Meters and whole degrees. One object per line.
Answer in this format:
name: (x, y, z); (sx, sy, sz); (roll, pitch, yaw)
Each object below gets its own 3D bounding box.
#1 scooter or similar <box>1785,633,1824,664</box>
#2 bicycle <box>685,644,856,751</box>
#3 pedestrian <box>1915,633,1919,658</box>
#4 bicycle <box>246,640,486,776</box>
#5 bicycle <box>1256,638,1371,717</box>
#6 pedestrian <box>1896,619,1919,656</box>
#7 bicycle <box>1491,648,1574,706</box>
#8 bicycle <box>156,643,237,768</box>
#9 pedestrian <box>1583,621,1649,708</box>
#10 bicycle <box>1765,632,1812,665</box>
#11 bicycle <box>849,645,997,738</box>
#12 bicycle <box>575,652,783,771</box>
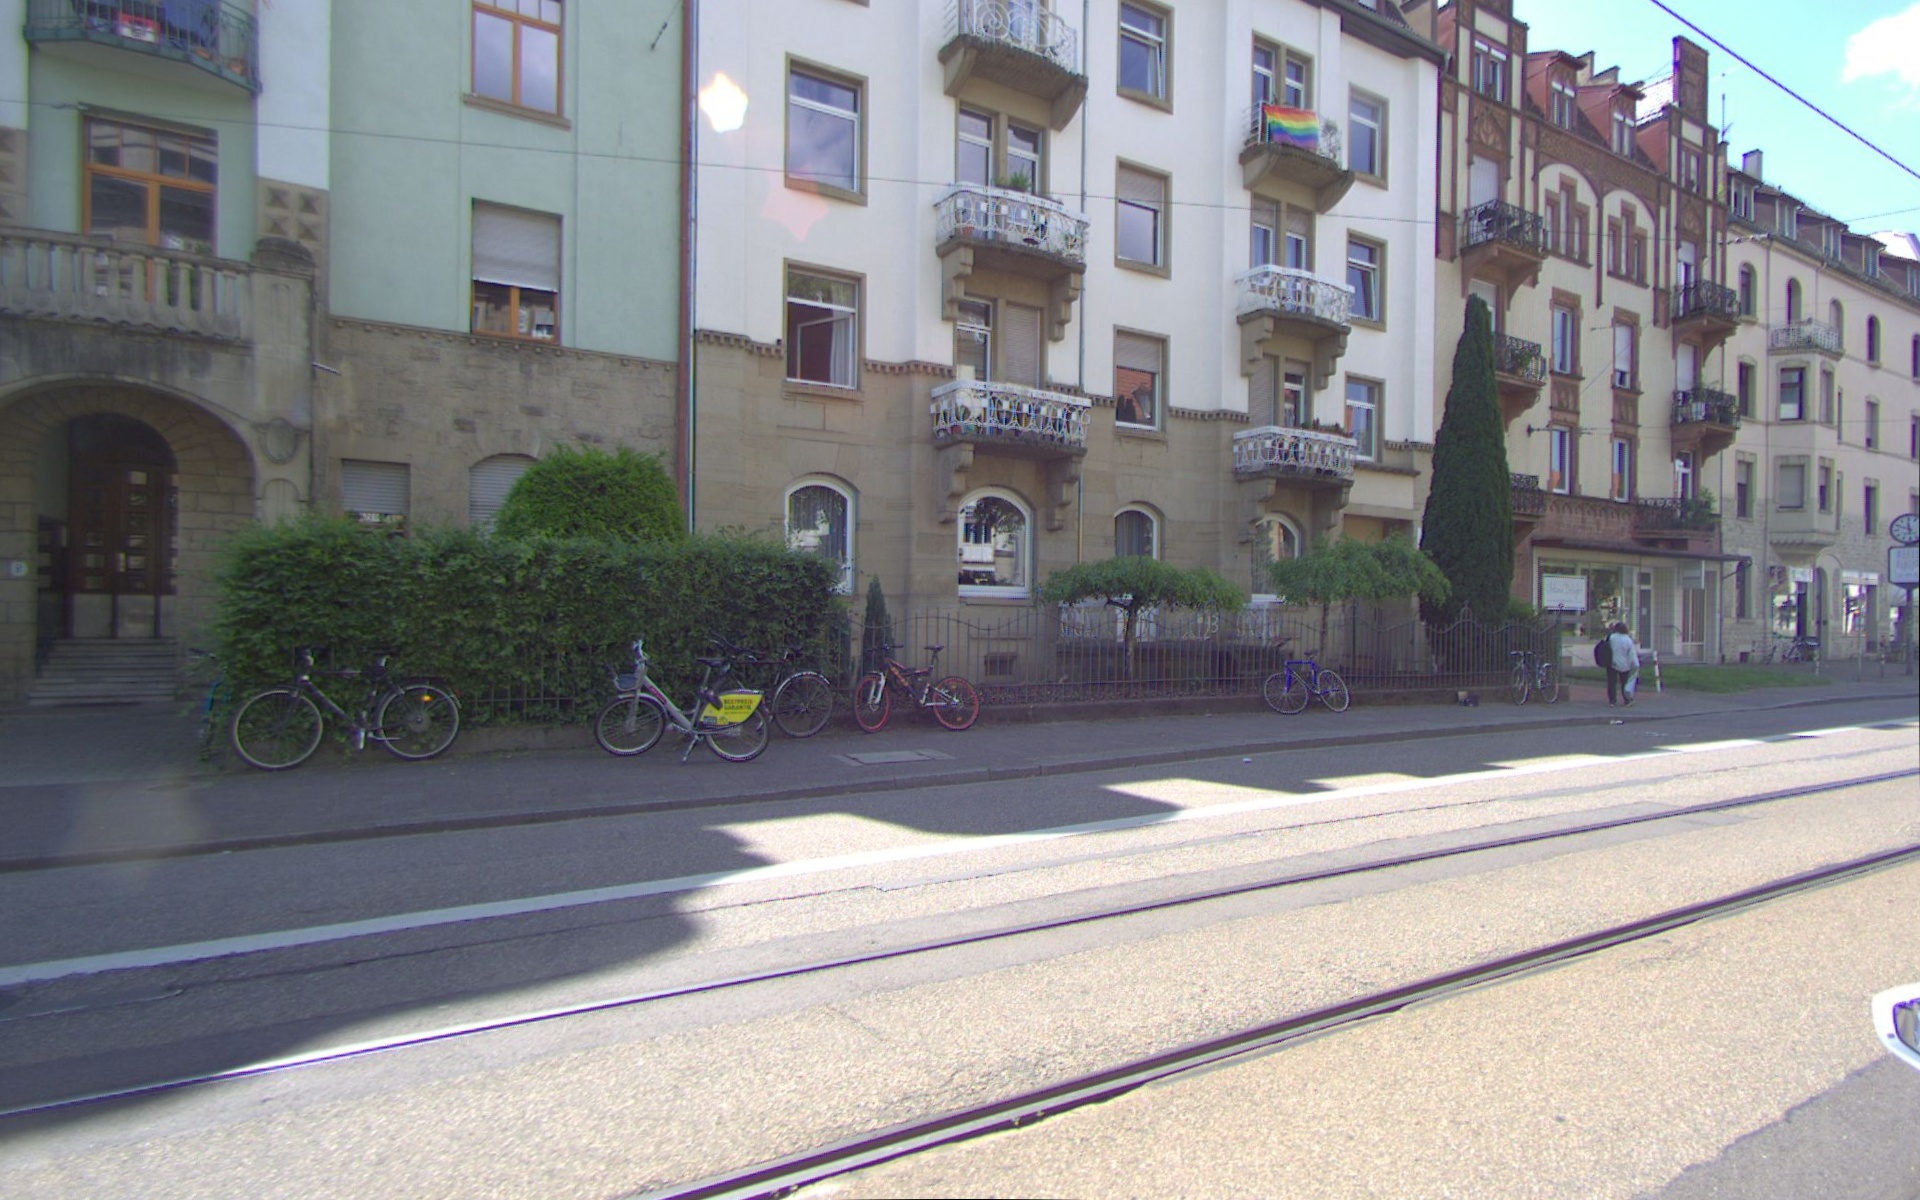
scooter or similar: (30.967, 1.775, 36.834); (0.682, 1.058, 1.210); (2, 0, 20)
bicycle: (-1.973, 0.986, 10.535); (1.688, 1.013, 0.462); (1, 3, -31)
pedestrian: (41.928, 1.965, 43.287); (0.872, 1.092, 0.912); (1, -1, -29)
bicycle: (-5.169, 0.902, 8.835); (1.751, 1.046, 0.604); (1, 3, -31)
bicycle: (5.321, 1.133, 15.081); (1.751, 1.079, 0.604); (1, 3, -31)
pedestrian: (43.008, 1.682, 45.351); (0.801, 1.616, 0.911); (1, -1, -33)
bicycle: (10.337, 1.377, 18.121); (1.820, 0.973, 0.408); (2, 2, -31)
bicycle: (-6.996, 0.924, 9.247); (0.387, 0.941, 1.564); (1, 2, -30)
pedestrian: (12.266, 1.174, 18.820); (0.886, 1.563, 0.983); (0, -1, 25)
bicycle: (29.418, 1.726, 35.673); (1.438, 1.080, 0.370); (2, 0, -7)
bicycle: (-0.415, 1.036, 11.665); (1.705, 0.979, 0.411); (1, 3, -31)
bicycle: (-2.574, 1.009, 9.297); (1.739, 1.012, 0.610); (1, -1, 5)
